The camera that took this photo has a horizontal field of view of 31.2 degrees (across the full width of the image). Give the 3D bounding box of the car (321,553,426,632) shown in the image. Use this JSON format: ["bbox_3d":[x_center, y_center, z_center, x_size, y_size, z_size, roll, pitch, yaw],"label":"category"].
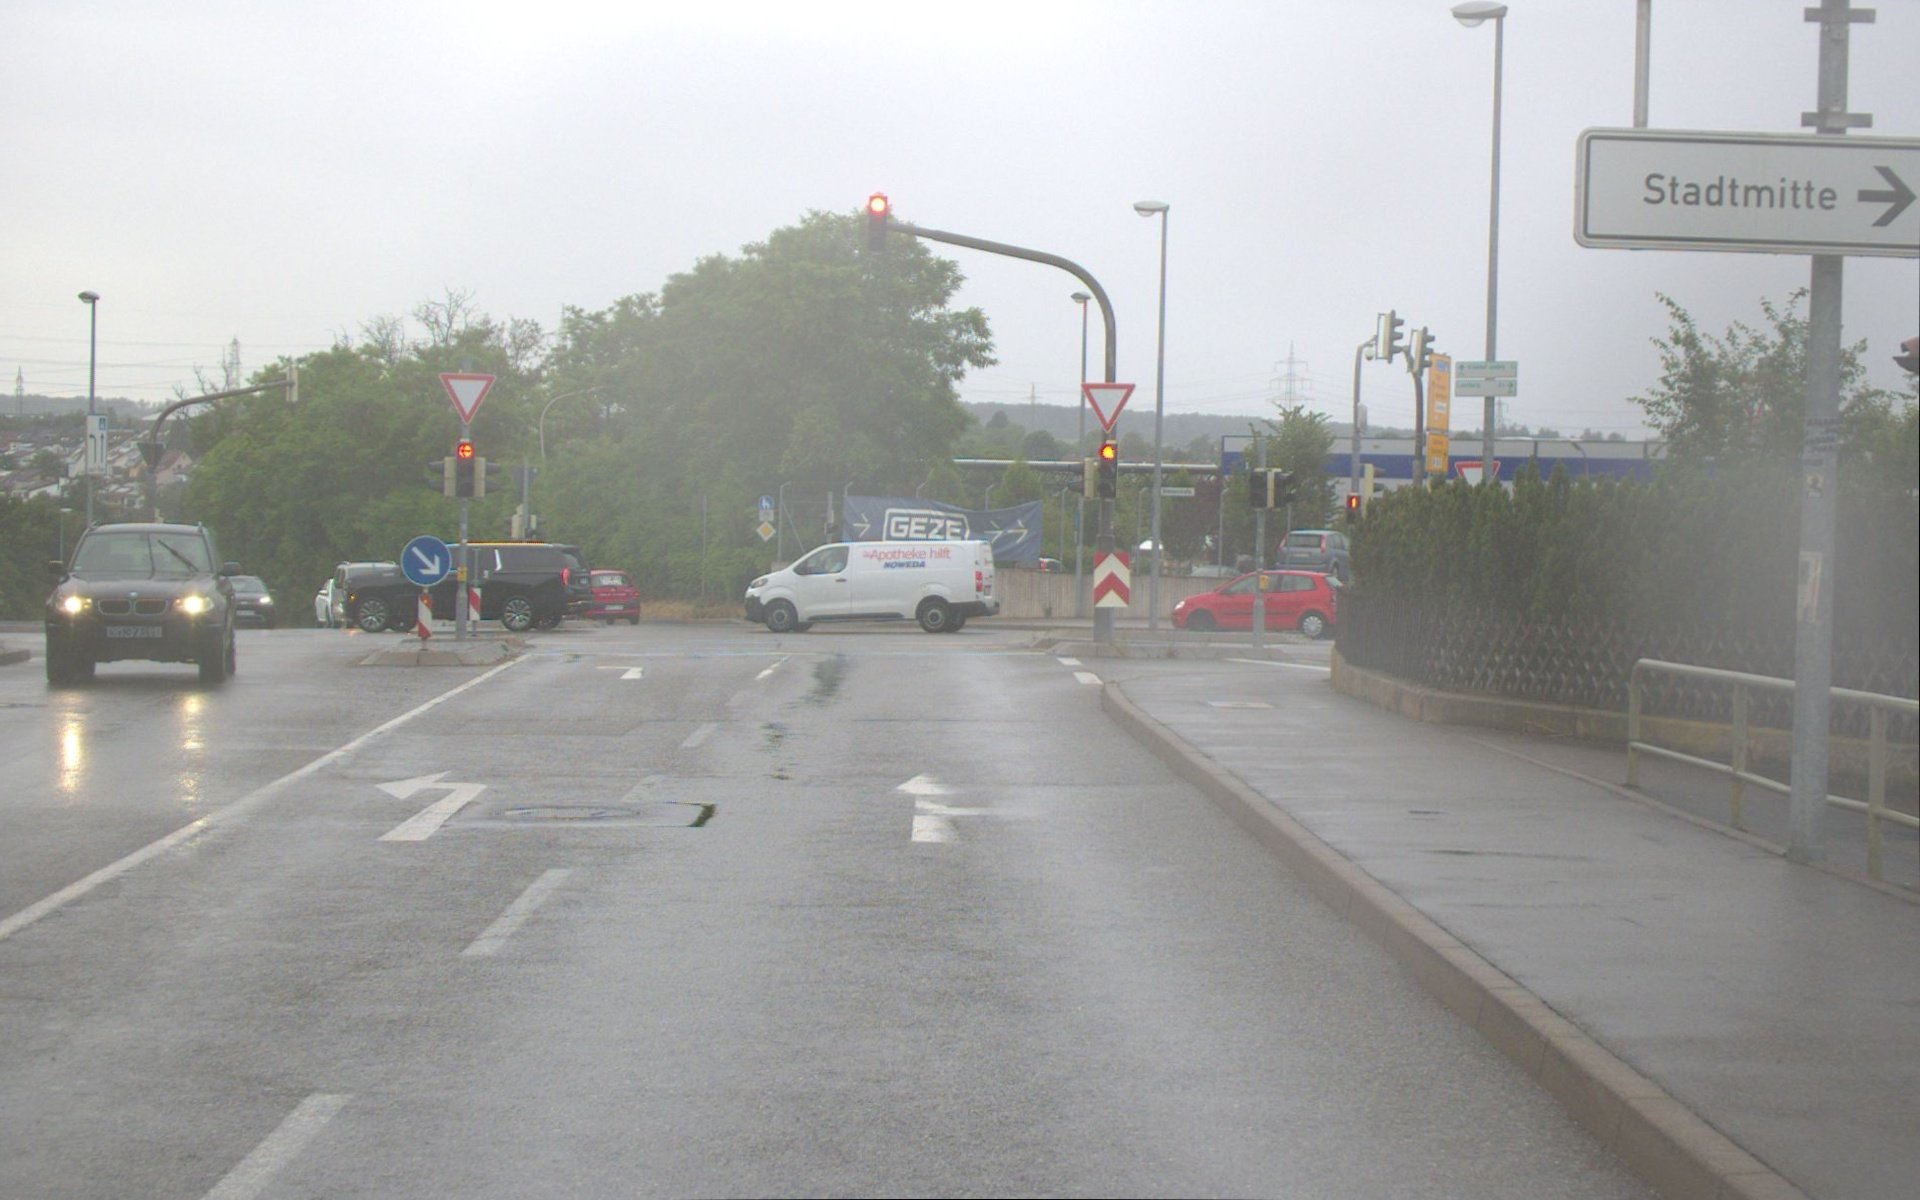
[{"bbox_3d":[-15.817,-0.226,92.624,1.993,2.007,4.001,-1,1,-21],"label":"car"}]

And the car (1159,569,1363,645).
[{"bbox_3d":[6.512,0.133,74.345,3.991,1.481,1.998,2,2,19],"label":"car"}]

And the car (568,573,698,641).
[{"bbox_3d":[-8.967,0.163,93.958,2.297,1.684,4.758,-3,1,-21],"label":"car"}]

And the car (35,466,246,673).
[{"bbox_3d":[-8.529,-0.357,36.063,1.771,2.007,4.001,1,1,-8],"label":"car"}]

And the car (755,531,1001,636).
[{"bbox_3d":[-1.688,-0.361,71.739,4.859,2.007,1.777,2,1,9],"label":"car"}]

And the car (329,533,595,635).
[{"bbox_3d":[-11.103,-0.362,76.852,5.468,2.007,2.000,-2,1,8],"label":"car"}]

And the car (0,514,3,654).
[{"bbox_3d":[-6.121,0.316,17.033,1.805,1.518,4.001,2,1,-3],"label":"car"}]

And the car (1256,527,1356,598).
[{"bbox_3d":[10.318,-1.132,102.311,1.996,2.007,3.996,2,2,20],"label":"car"}]
